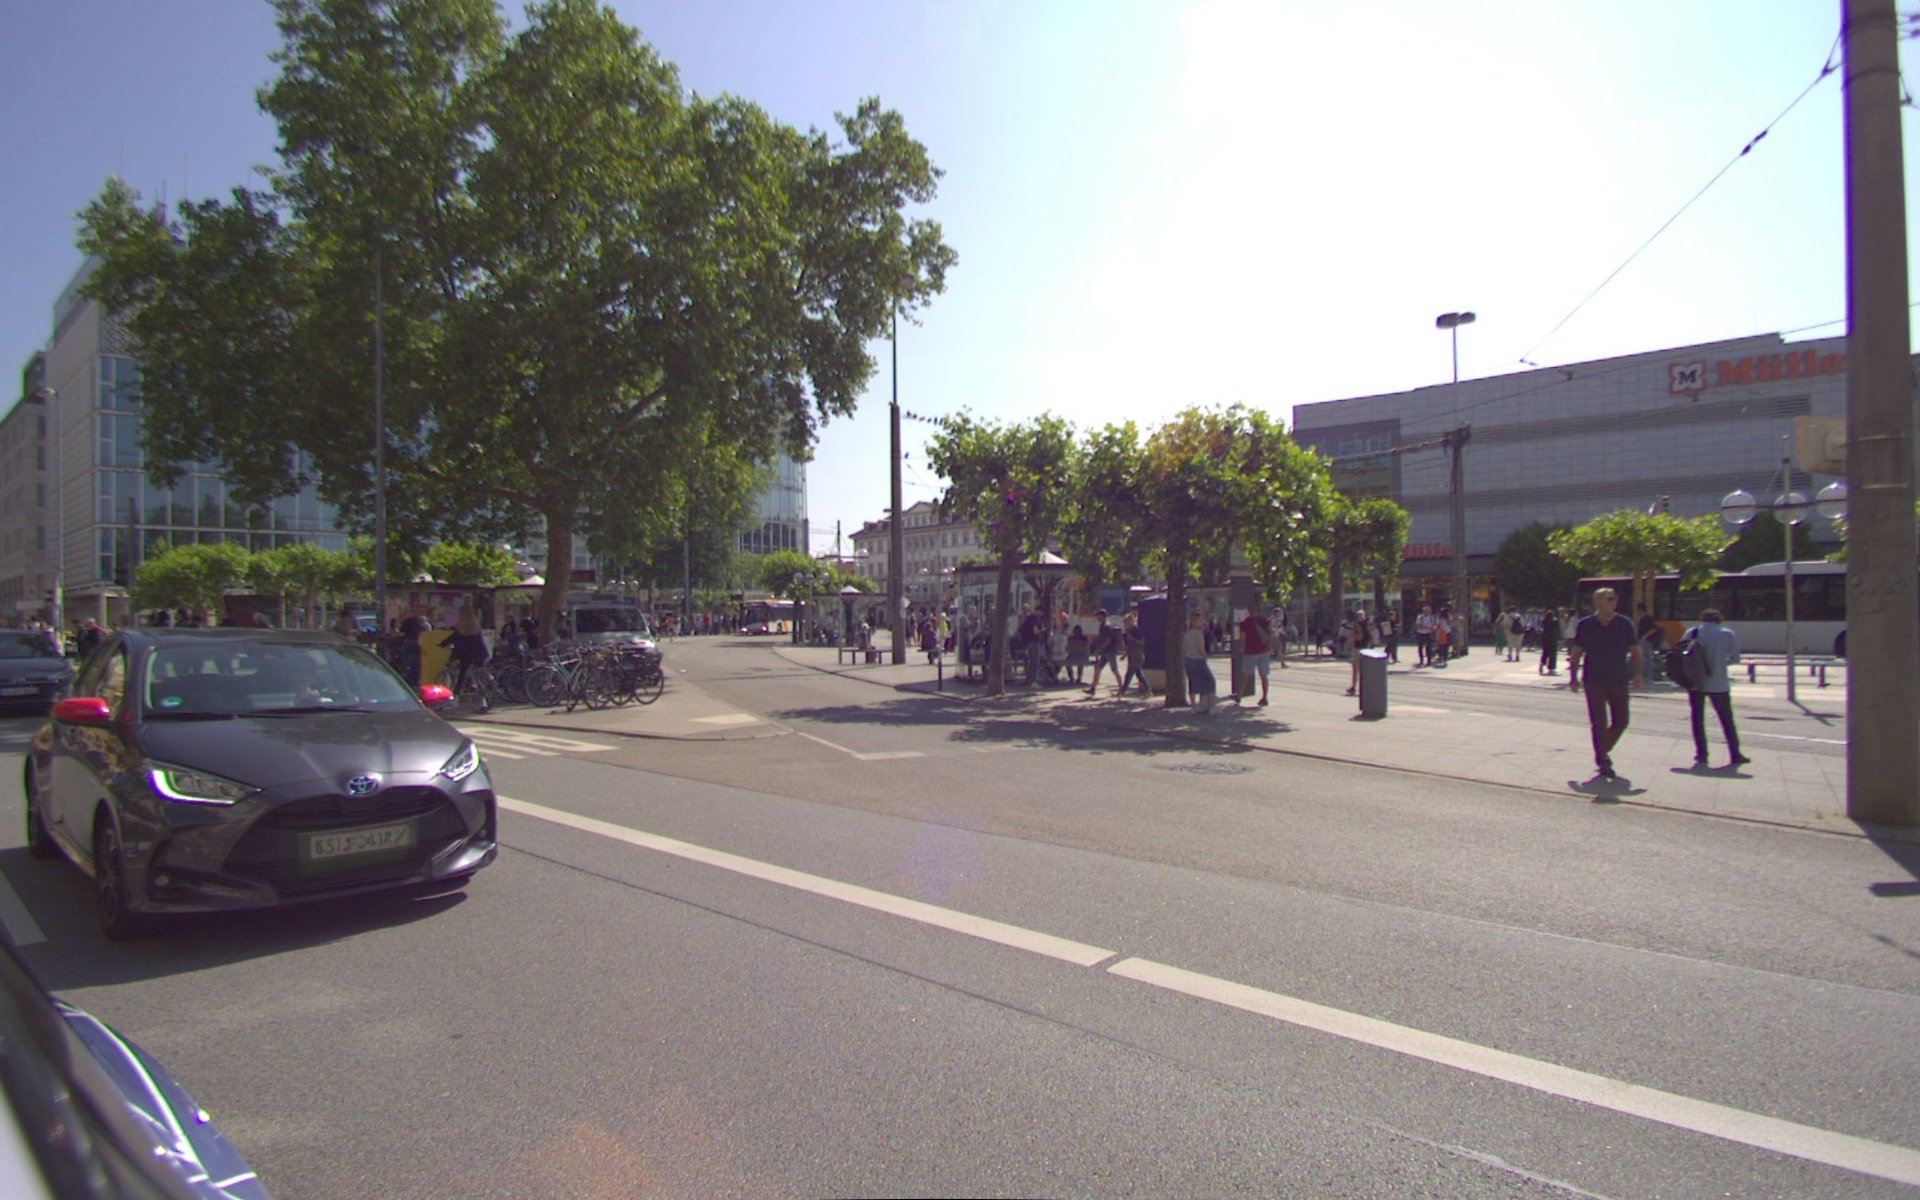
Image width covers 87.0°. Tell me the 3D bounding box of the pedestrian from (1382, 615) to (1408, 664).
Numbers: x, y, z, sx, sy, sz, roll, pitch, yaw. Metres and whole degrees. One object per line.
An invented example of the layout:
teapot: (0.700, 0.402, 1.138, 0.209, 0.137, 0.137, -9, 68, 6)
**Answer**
pedestrian: (13.671, 1.250, 31.797, 0.675, 1.513, 0.621, -1, -4, 19)

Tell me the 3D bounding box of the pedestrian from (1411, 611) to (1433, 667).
pedestrian: (13.806, 1.167, 30.273, 0.518, 1.678, 0.469, -1, -4, 19)

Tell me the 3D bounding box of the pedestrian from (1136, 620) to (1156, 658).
pedestrian: (7.828, 1.651, 42.587, 0.568, 1.561, 0.682, 2, -4, -22)

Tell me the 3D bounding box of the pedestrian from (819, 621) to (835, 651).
pedestrian: (-6.777, 1.842, 51.516, 0.547, 1.483, 0.533, -2, 0, -42)

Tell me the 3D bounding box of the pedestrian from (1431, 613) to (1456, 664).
pedestrian: (14.310, 1.154, 29.974, 0.549, 1.477, 0.621, -1, -4, 19)

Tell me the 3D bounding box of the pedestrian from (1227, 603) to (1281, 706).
pedestrian: (5.140, 0.956, 17.743, 0.614, 1.759, 0.682, 1, -4, -15)

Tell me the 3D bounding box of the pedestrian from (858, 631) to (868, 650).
pedestrian: (-4.939, 2.061, 51.570, 0.333, 0.970, 0.328, -2, 0, 22)

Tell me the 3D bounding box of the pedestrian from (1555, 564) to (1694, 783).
pedestrian: (6.419, 0.698, 9.825, 0.670, 2.023, 0.895, 0, -3, -3)

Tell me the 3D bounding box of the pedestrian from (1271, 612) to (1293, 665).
pedestrian: (11.181, 1.332, 35.137, 0.675, 1.809, 0.621, -1, -4, 19)

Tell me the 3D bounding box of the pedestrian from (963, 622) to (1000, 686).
pedestrian: (0.507, 1.286, 23.885, 0.614, 1.477, 0.682, 2, -4, -28)

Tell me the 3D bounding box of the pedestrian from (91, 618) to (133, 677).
pedestrian: (-26.221, 1.461, 31.296, 0.882, 1.760, 0.715, -2, 0, 31)

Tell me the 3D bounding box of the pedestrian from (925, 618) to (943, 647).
pedestrian: (-1.352, 1.699, 53.103, 0.555, 1.483, 0.748, -2, 0, 40)

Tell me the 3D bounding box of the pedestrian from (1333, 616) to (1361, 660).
pedestrian: (13.408, 1.324, 35.051, 0.615, 1.477, 0.681, 4, -5, -43)

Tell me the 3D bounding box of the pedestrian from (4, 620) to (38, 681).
pedestrian: (-28.006, 1.502, 30.182, 0.732, 1.760, 0.631, -2, 0, 39)

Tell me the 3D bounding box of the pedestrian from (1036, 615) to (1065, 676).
pedestrian: (2.676, 1.354, 29.941, 0.578, 1.791, 0.670, -3, -5, 44)

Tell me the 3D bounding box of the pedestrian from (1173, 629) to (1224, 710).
pedestrian: (3.789, 1.095, 16.093, 0.568, 1.243, 0.555, 0, -1, -15)

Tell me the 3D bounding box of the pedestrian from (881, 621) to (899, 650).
pedestrian: (-3.610, 1.834, 52.254, 0.555, 1.483, 0.748, -2, 0, 40)

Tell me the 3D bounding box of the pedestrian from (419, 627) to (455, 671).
pedestrian: (-15.371, 1.426, 29.740, 0.612, 1.251, 0.665, -2, 0, 28)

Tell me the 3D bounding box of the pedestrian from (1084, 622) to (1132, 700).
pedestrian: (2.865, 1.179, 19.586, 0.680, 1.477, 0.616, -3, -5, 41)

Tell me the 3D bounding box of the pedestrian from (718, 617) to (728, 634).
pedestrian: (-20.436, 2.193, 87.264, 0.745, 1.483, 0.557, -2, 0, -22)

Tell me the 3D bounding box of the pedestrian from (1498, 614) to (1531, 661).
pedestrian: (17.649, 1.201, 32.226, 0.672, 1.477, 0.623, 0, -4, 7)

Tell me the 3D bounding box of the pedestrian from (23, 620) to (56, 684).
pedestrian: (-25.778, 1.450, 28.349, 0.651, 1.726, 0.568, -2, 0, 39)

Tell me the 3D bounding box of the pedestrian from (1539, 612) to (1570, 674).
pedestrian: (15.221, 1.119, 25.926, 0.530, 1.565, 0.592, -3, -5, 44)

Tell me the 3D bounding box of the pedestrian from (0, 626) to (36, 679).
pedestrian: (-32.361, 1.807, 34.765, 0.720, 1.760, 0.642, -2, 0, -25)

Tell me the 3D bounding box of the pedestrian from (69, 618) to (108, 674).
pedestrian: (-28.283, 1.493, 32.846, 0.731, 1.760, 0.743, -2, 0, 31)

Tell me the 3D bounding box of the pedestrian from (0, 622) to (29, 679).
pedestrian: (-29.940, 1.581, 31.996, 0.732, 1.760, 0.631, -2, 0, 39)

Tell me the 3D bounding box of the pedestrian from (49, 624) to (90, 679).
pedestrian: (-29.287, 1.686, 33.297, 0.732, 1.760, 0.865, -2, 0, 39)

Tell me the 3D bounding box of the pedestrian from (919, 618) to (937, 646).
pedestrian: (-1.729, 1.719, 54.369, 0.555, 1.483, 0.748, -2, 0, 40)

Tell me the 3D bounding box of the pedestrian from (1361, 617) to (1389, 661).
pedestrian: (14.134, 1.330, 34.459, 0.615, 1.477, 0.681, 4, -5, -43)

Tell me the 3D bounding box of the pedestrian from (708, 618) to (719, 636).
pedestrian: (-20.855, 2.299, 85.553, 0.745, 1.483, 0.557, -2, 0, -22)

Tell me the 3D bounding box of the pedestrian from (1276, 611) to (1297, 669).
pedestrian: (9.894, 1.219, 30.692, 0.584, 1.744, 0.557, -1, -4, 19)

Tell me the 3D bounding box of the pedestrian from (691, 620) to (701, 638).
pedestrian: (-21.889, 2.415, 83.854, 0.745, 1.483, 0.557, -2, 0, -22)

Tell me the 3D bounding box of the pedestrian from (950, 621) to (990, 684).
pedestrian: (0.240, 1.272, 24.402, 0.716, 1.477, 0.682, 2, -4, -28)

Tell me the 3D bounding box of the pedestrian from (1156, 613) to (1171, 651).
pedestrian: (8.445, 1.323, 41.945, 0.573, 1.561, 0.677, -1, -4, 14)

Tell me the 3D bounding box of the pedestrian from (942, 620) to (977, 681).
pedestrian: (-0.007, 1.246, 25.177, 0.614, 1.476, 0.682, 0, -1, -28)

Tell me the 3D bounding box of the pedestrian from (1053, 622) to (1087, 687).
pedestrian: (2.520, 1.256, 23.288, 0.670, 1.477, 0.625, 0, -4, -3)

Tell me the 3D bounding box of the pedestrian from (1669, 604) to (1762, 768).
pedestrian: (8.063, 0.885, 10.837, 0.678, 1.671, 0.885, -1, -2, 32)

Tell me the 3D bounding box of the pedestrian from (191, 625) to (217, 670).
pedestrian: (-28.968, 1.803, 38.778, 0.721, 1.682, 0.641, -2, 0, -36)

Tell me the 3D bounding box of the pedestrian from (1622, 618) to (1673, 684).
pedestrian: (15.132, 1.122, 22.292, 0.617, 1.429, 0.680, 0, -4, 3)

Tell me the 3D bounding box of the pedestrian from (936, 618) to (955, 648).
pedestrian: (-0.742, 1.682, 52.021, 0.555, 1.483, 0.748, -2, 0, 40)

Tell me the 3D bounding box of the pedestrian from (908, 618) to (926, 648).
pedestrian: (-2.244, 1.725, 53.048, 0.555, 1.483, 0.748, -2, 0, 40)

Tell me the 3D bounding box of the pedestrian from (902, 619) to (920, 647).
pedestrian: (-2.589, 1.747, 53.591, 0.555, 1.483, 0.748, -2, 0, 40)

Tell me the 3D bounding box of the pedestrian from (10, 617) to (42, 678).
pedestrian: (-30.330, 1.524, 32.865, 0.860, 1.934, 0.631, -2, 0, 40)
